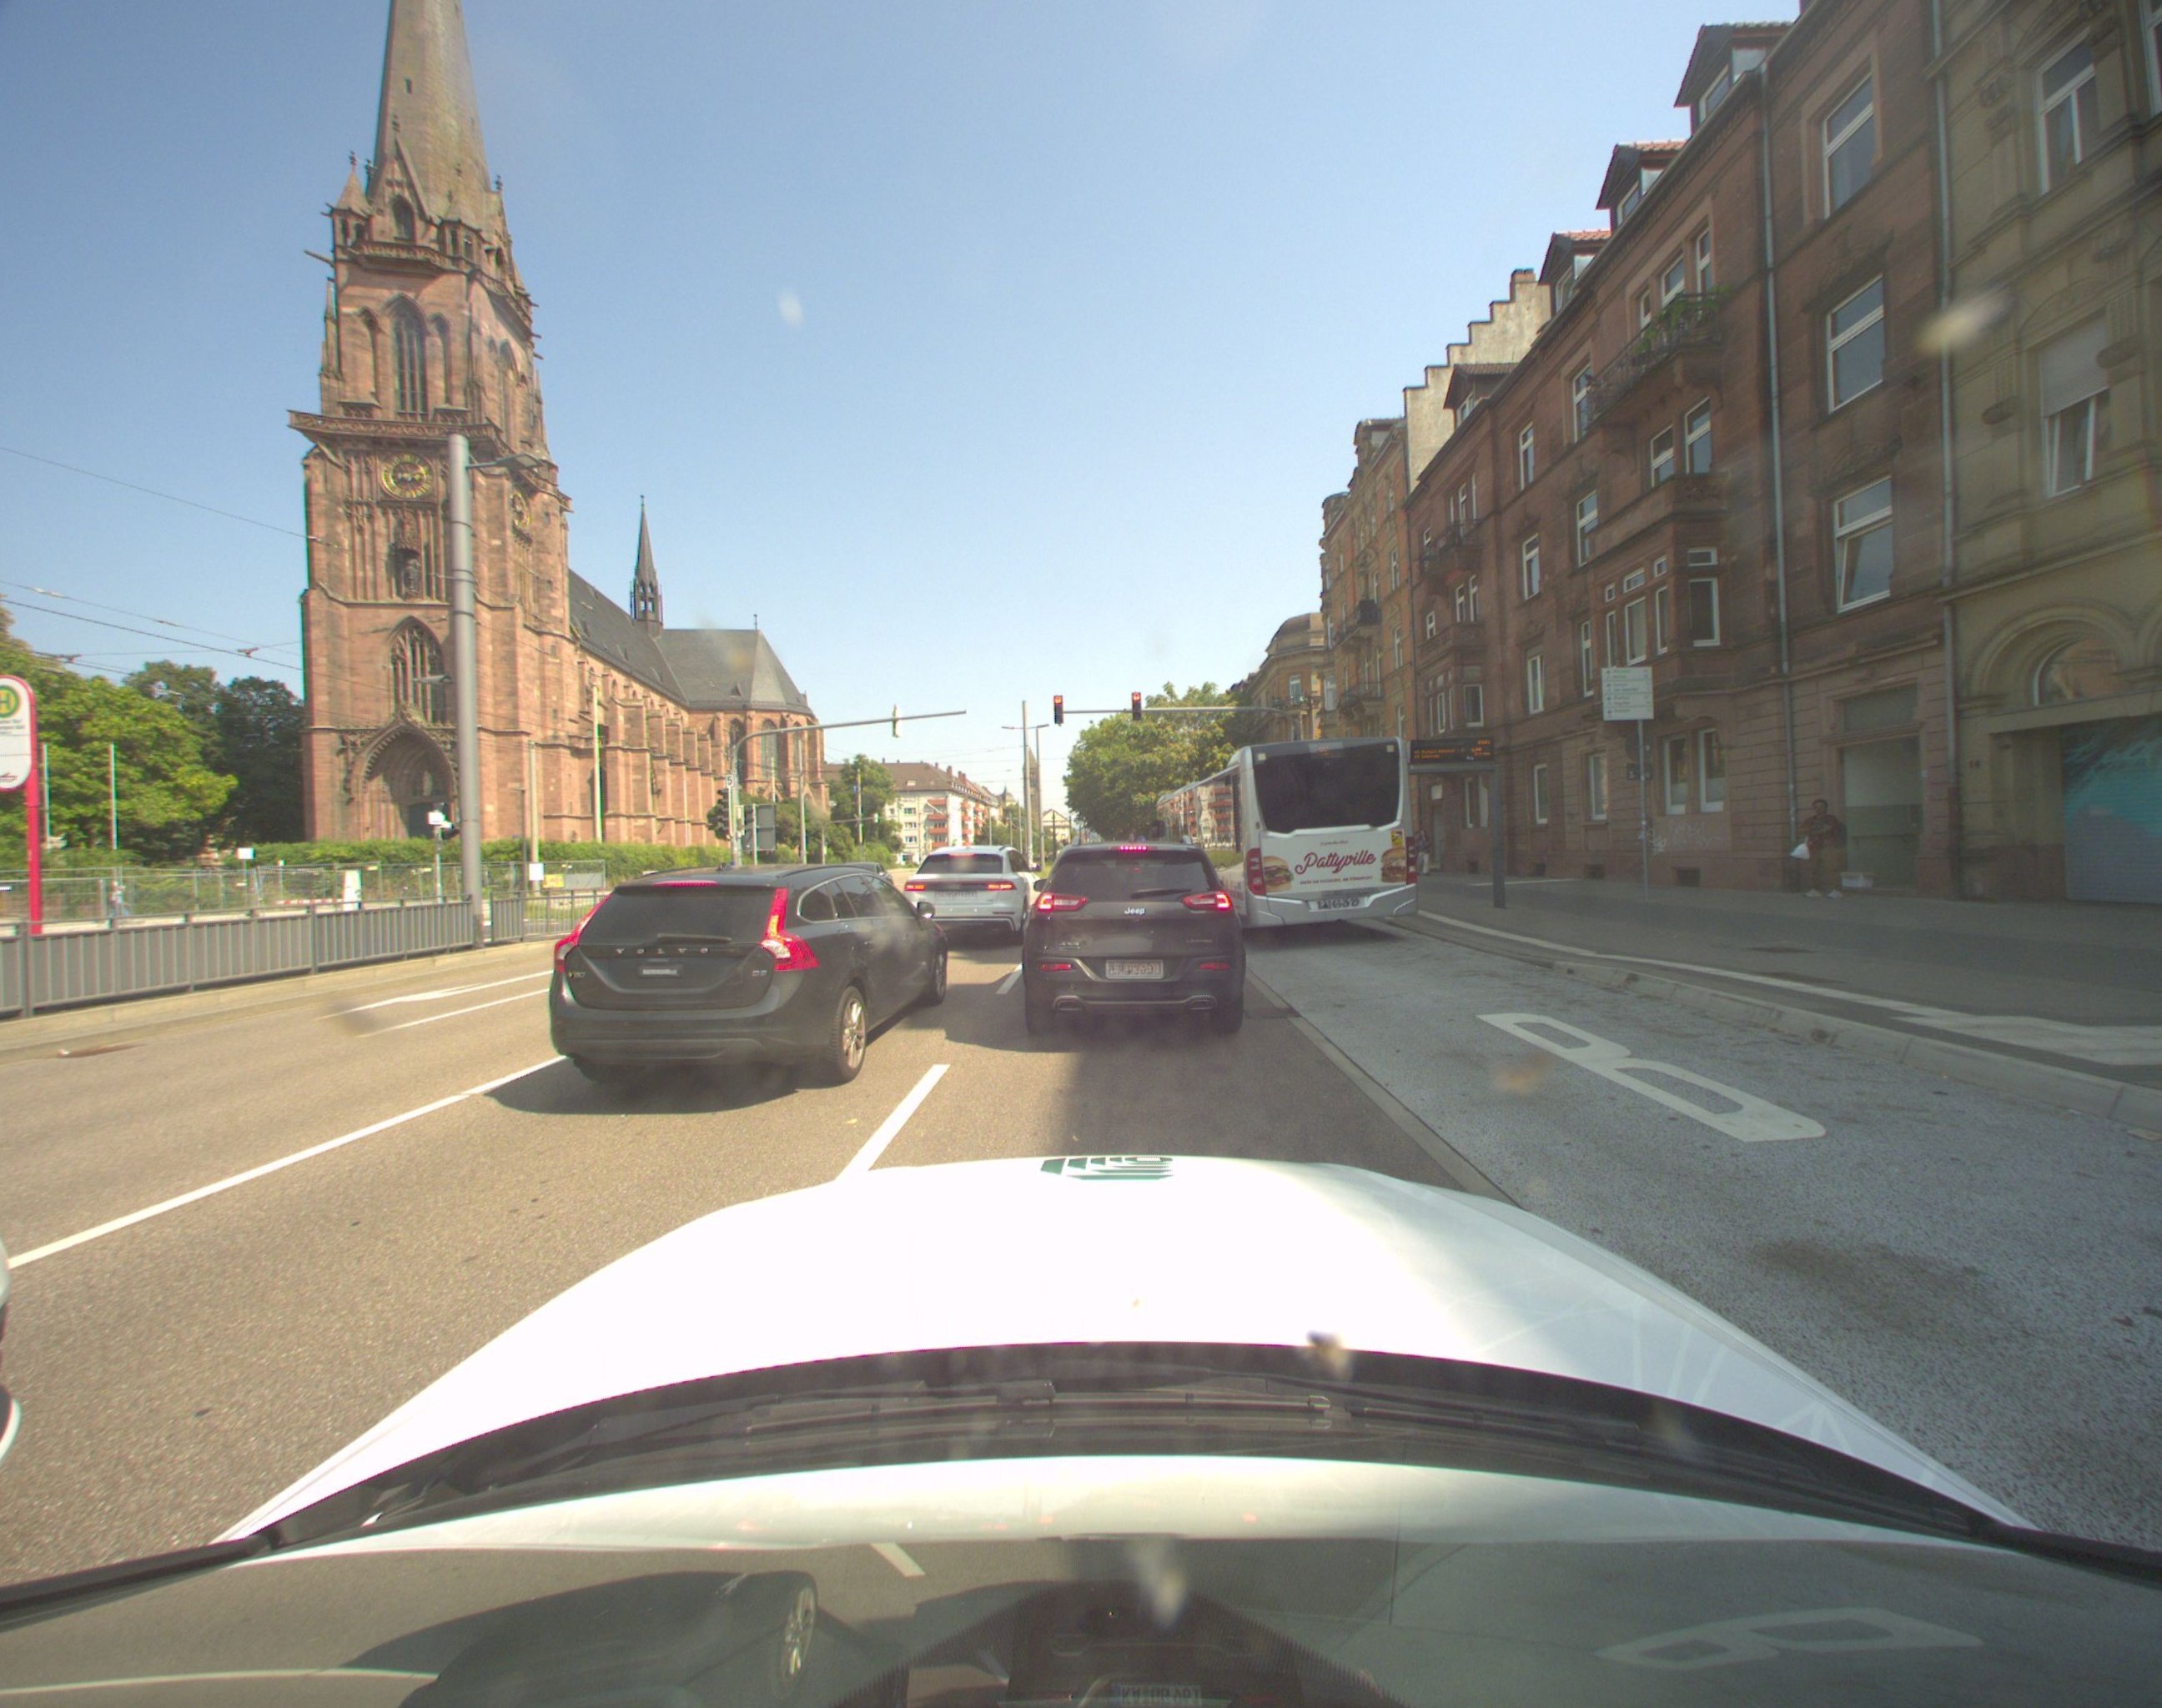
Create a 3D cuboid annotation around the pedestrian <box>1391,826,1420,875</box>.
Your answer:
[{"bbox_3d":[12.125,-0.122,30.465,0.711,1.776,0.848,-2,0,1],"label":"pedestrian"}]

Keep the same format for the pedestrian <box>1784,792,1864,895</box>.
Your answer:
[{"bbox_3d":[13.270,-0.183,14.548,0.872,1.778,0.737,-2,0,-26],"label":"pedestrian"}]

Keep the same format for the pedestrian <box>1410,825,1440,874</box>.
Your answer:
[{"bbox_3d":[12.848,-0.159,30.459,0.712,1.778,0.870,-2,0,0],"label":"pedestrian"}]

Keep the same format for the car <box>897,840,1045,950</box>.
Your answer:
[{"bbox_3d":[-1.790,0.619,14.676,1.895,1.651,4.310,-1,0,2],"label":"car"}]

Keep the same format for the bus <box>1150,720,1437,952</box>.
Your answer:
[{"bbox_3d":[3.543,-0.237,17.616,2.735,3.107,11.950,-5,0,-1],"label":"bus"}]

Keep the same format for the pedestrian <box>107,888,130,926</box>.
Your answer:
[{"bbox_3d":[-40.392,2.212,34.168,0.430,1.531,0.548,-3,0,36],"label":"pedestrian"}]

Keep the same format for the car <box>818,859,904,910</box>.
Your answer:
[{"bbox_3d":[-7.460,0.985,28.056,1.741,1.435,4.570,-3,0,-1],"label":"car"}]

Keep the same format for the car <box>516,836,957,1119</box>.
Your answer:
[{"bbox_3d":[-2.328,0.712,6.873,1.741,1.614,4.310,-1,0,2],"label":"car"}]

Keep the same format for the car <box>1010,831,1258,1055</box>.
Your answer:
[{"bbox_3d":[0.505,0.656,8.218,1.825,1.651,4.312,-1,0,3],"label":"car"}]
